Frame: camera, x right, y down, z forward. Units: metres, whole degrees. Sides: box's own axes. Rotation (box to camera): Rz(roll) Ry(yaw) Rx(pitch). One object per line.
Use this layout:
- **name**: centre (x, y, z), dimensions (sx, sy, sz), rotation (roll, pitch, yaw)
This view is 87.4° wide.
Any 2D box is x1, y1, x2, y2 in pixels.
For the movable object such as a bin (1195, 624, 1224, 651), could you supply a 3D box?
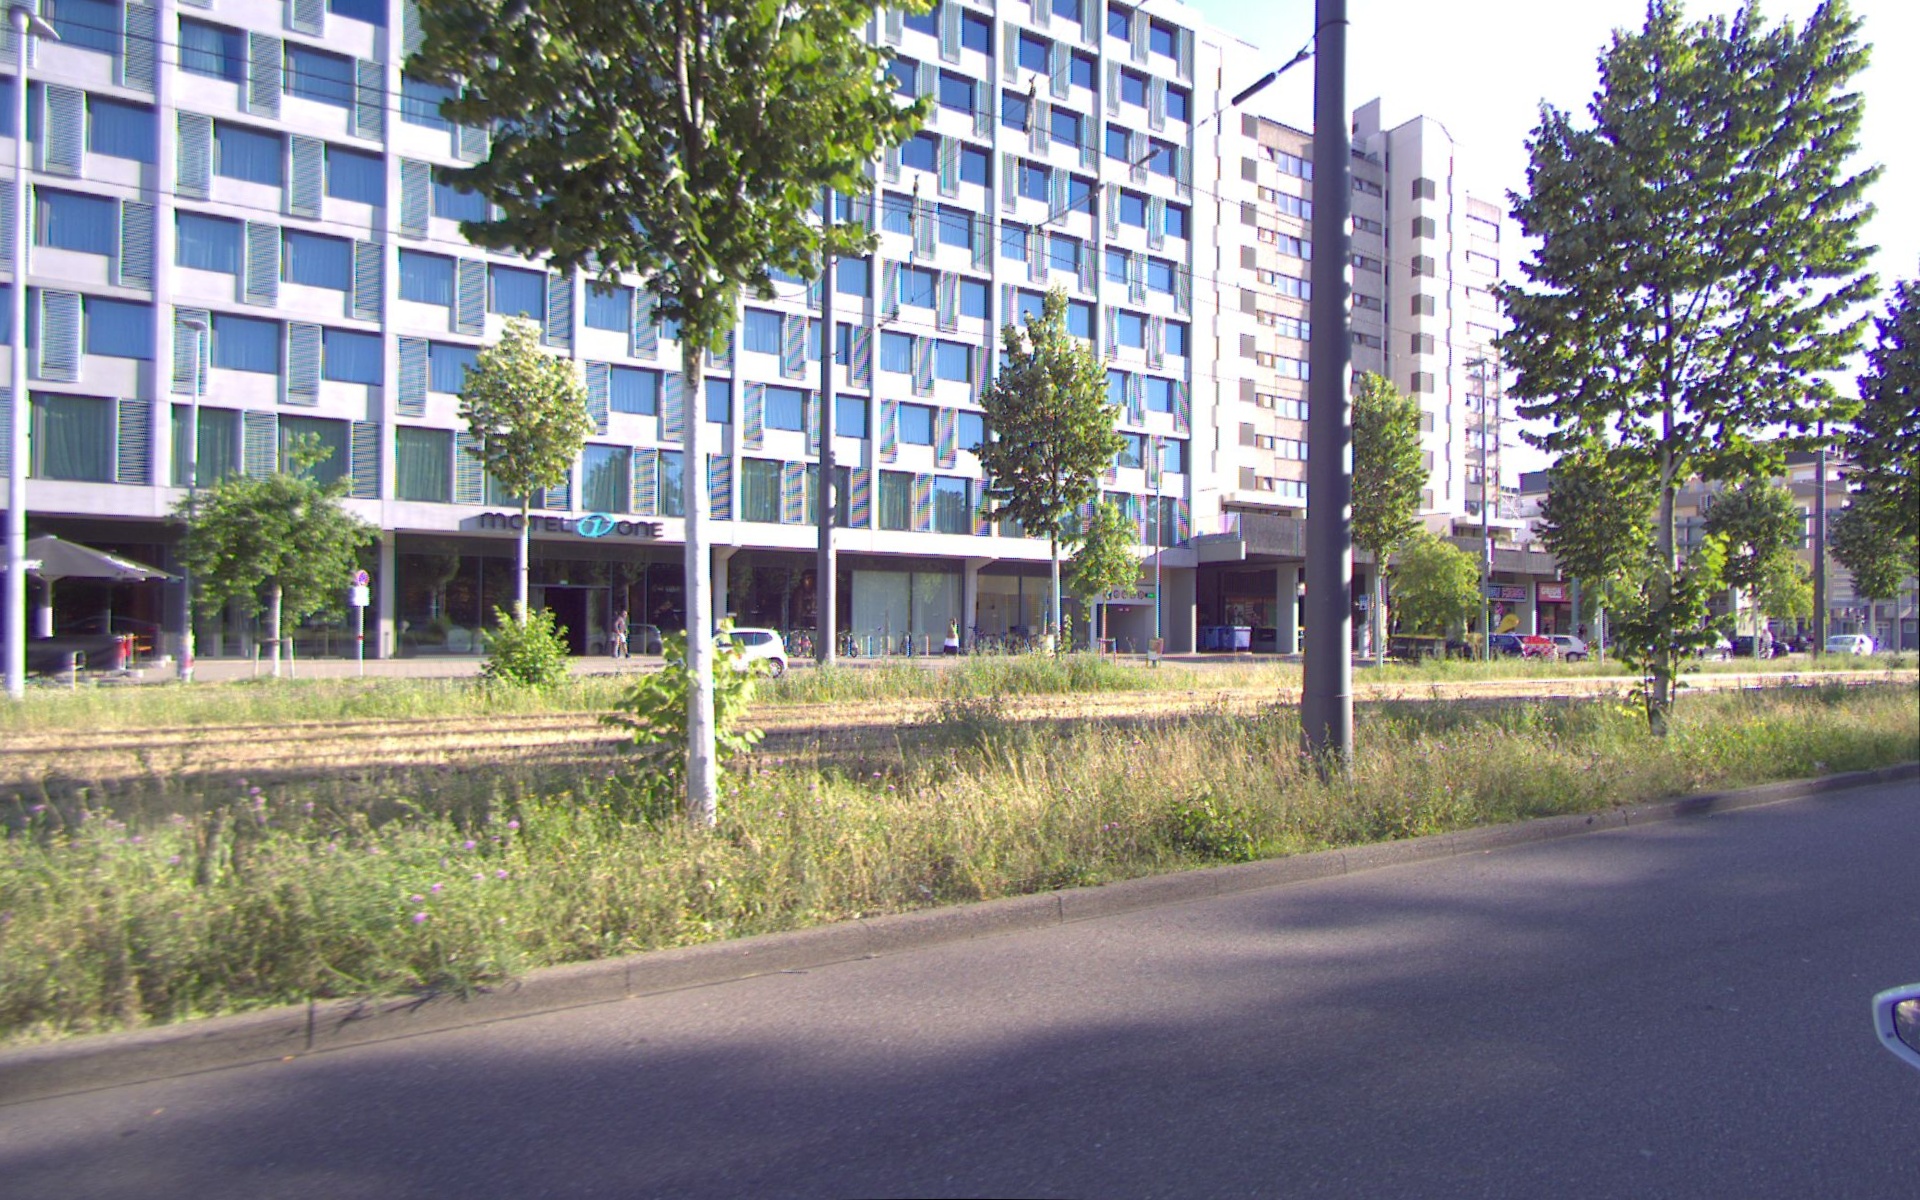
- **movable object such as a bin**: centre (13.280, 1.994, 53.467), dimensions (1.386, 1.459, 0.796), rotation (1, -1, -30)

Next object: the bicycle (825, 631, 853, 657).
- **bicycle**: centre (-4.953, 1.794, 40.939), dimensions (0.477, 0.979, 1.743), rotation (1, 0, -29)

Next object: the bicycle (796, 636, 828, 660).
- **bicycle**: centre (-5.930, 1.901, 40.142), dimensions (0.507, 0.917, 1.792), rotation (1, -1, -35)

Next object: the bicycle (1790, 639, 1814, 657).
- **bicycle**: centre (51.689, 2.931, 61.669), dimensions (1.769, 1.053, 0.552), rotation (1, 0, -29)

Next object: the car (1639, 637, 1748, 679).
- **car**: centre (32.300, 2.525, 44.212), dimensions (5.025, 1.711, 1.878), rotation (1, 0, -28)

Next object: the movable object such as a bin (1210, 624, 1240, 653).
- **movable object such as a bin**: centre (13.853, 2.006, 52.473), dimensions (1.386, 1.459, 0.796), rotation (1, -1, -30)

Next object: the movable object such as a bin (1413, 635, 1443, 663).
- **movable object such as a bin**: centre (22.087, 2.290, 47.405), dimensions (0.924, 1.297, 0.858), rotation (1, -1, -15)

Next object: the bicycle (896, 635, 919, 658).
- **bicycle**: centre (-2.204, 1.936, 41.844), dimensions (0.504, 0.917, 1.802), rotation (1, -1, -19)

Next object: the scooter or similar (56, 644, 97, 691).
- **scooter or similar**: centre (-20.452, 1.557, 23.268), dimensions (0.429, 1.033, 1.238), rotation (1, -1, -28)

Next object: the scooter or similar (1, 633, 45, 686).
- **scooter or similar**: centre (-21.504, 1.350, 23.057), dimensions (0.401, 1.187, 1.238), rotation (1, -1, -28)

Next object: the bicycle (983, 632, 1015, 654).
- **bicycle**: centre (1.724, 1.898, 44.457), dimensions (0.506, 0.917, 1.794), rotation (1, -1, -32)

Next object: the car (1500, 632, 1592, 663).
- **car**: centre (31.526, 2.530, 54.154), dimensions (3.919, 1.472, 1.788), rotation (1, 0, 13)

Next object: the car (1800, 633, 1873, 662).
- **car**: centre (50.513, 2.722, 57.888), dimensions (3.950, 1.535, 1.878), rotation (1, 0, -28)

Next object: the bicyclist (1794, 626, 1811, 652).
- **bicyclist**: centre (51.746, 2.401, 61.697), dimensions (0.674, 1.565, 0.549), rotation (1, 0, -29)

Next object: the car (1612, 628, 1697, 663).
- **car**: centre (40.621, 2.655, 58.846), dimensions (3.685, 1.853, 1.824), rotation (1, 0, 21)

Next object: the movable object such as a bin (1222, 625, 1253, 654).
- **movable object such as a bin**: centre (14.268, 2.014, 51.710), dimensions (1.386, 1.459, 0.796), rotation (1, -1, -30)

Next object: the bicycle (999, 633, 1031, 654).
- **bicycle**: centre (2.453, 1.921, 44.735), dimensions (0.506, 0.917, 1.794), rotation (1, -1, -32)

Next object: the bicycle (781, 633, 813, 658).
- **bicycle**: centre (-6.454, 1.787, 39.701), dimensions (0.507, 0.917, 1.792), rotation (1, -1, -35)

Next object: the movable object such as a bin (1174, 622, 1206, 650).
- **movable object such as a bin**: centre (12.495, 1.954, 54.561), dimensions (1.386, 1.459, 0.937), rotation (1, -1, -29)

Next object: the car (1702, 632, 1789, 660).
- **car**: centre (50.429, 2.962, 64.593), dimensions (3.921, 1.584, 2.000), rotation (1, 0, 19)

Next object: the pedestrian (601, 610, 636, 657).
- **pedestrian**: centre (-12.490, 1.221, 36.727), dimensions (1.045, 1.692, 0.972), rotation (1, -1, -28)

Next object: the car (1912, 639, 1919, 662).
- **car**: centre (66.470, 3.425, 67.970), dimensions (3.950, 1.535, 1.878), rotation (1, 0, -28)

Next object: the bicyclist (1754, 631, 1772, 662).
- **bicyclist**: centre (47.983, 2.753, 60.013), dimensions (0.849, 1.812, 0.537), rotation (1, 0, -33)

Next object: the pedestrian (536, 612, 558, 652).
- **pedestrian**: centre (-17.990, 1.395, 43.742), dimensions (0.755, 1.719, 0.851), rotation (1, -1, -28)

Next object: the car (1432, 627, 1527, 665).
- **car**: centre (26.201, 2.309, 50.807), dimensions (4.016, 1.622, 1.750), rotation (2, 1, 20)

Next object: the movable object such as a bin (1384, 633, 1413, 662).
- **movable object such as a bin**: centre (21.151, 2.271, 48.458), dimensions (0.924, 1.375, 0.858), rotation (1, -1, -15)

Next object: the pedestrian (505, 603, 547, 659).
- **pedestrian**: centre (-15.084, 1.075, 34.915), dimensions (0.959, 1.895, 0.973), rotation (0, -1, 7)

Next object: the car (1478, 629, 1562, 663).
- **car**: centre (29.208, 2.404, 52.483), dimensions (3.554, 1.543, 1.621), rotation (2, 0, 20)

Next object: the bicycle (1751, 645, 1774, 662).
- **bicycle**: centre (47.907, 3.176, 59.969), dimensions (1.693, 1.006, 0.541), rotation (1, 0, -32)

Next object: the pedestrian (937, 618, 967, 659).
- **pedestrian**: centre (-0.326, 1.565, 40.996), dimensions (0.958, 1.675, 0.840), rotation (1, -1, -28)

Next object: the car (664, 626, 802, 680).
- **car**: centre (-7.017, 1.605, 31.048), dimensions (3.824, 1.512, 1.878), rotation (1, 0, -28)

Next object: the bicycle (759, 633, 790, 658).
- **bicycle**: centre (-7.317, 1.784, 39.514), dimensions (0.507, 0.917, 1.792), rotation (1, -1, -35)
